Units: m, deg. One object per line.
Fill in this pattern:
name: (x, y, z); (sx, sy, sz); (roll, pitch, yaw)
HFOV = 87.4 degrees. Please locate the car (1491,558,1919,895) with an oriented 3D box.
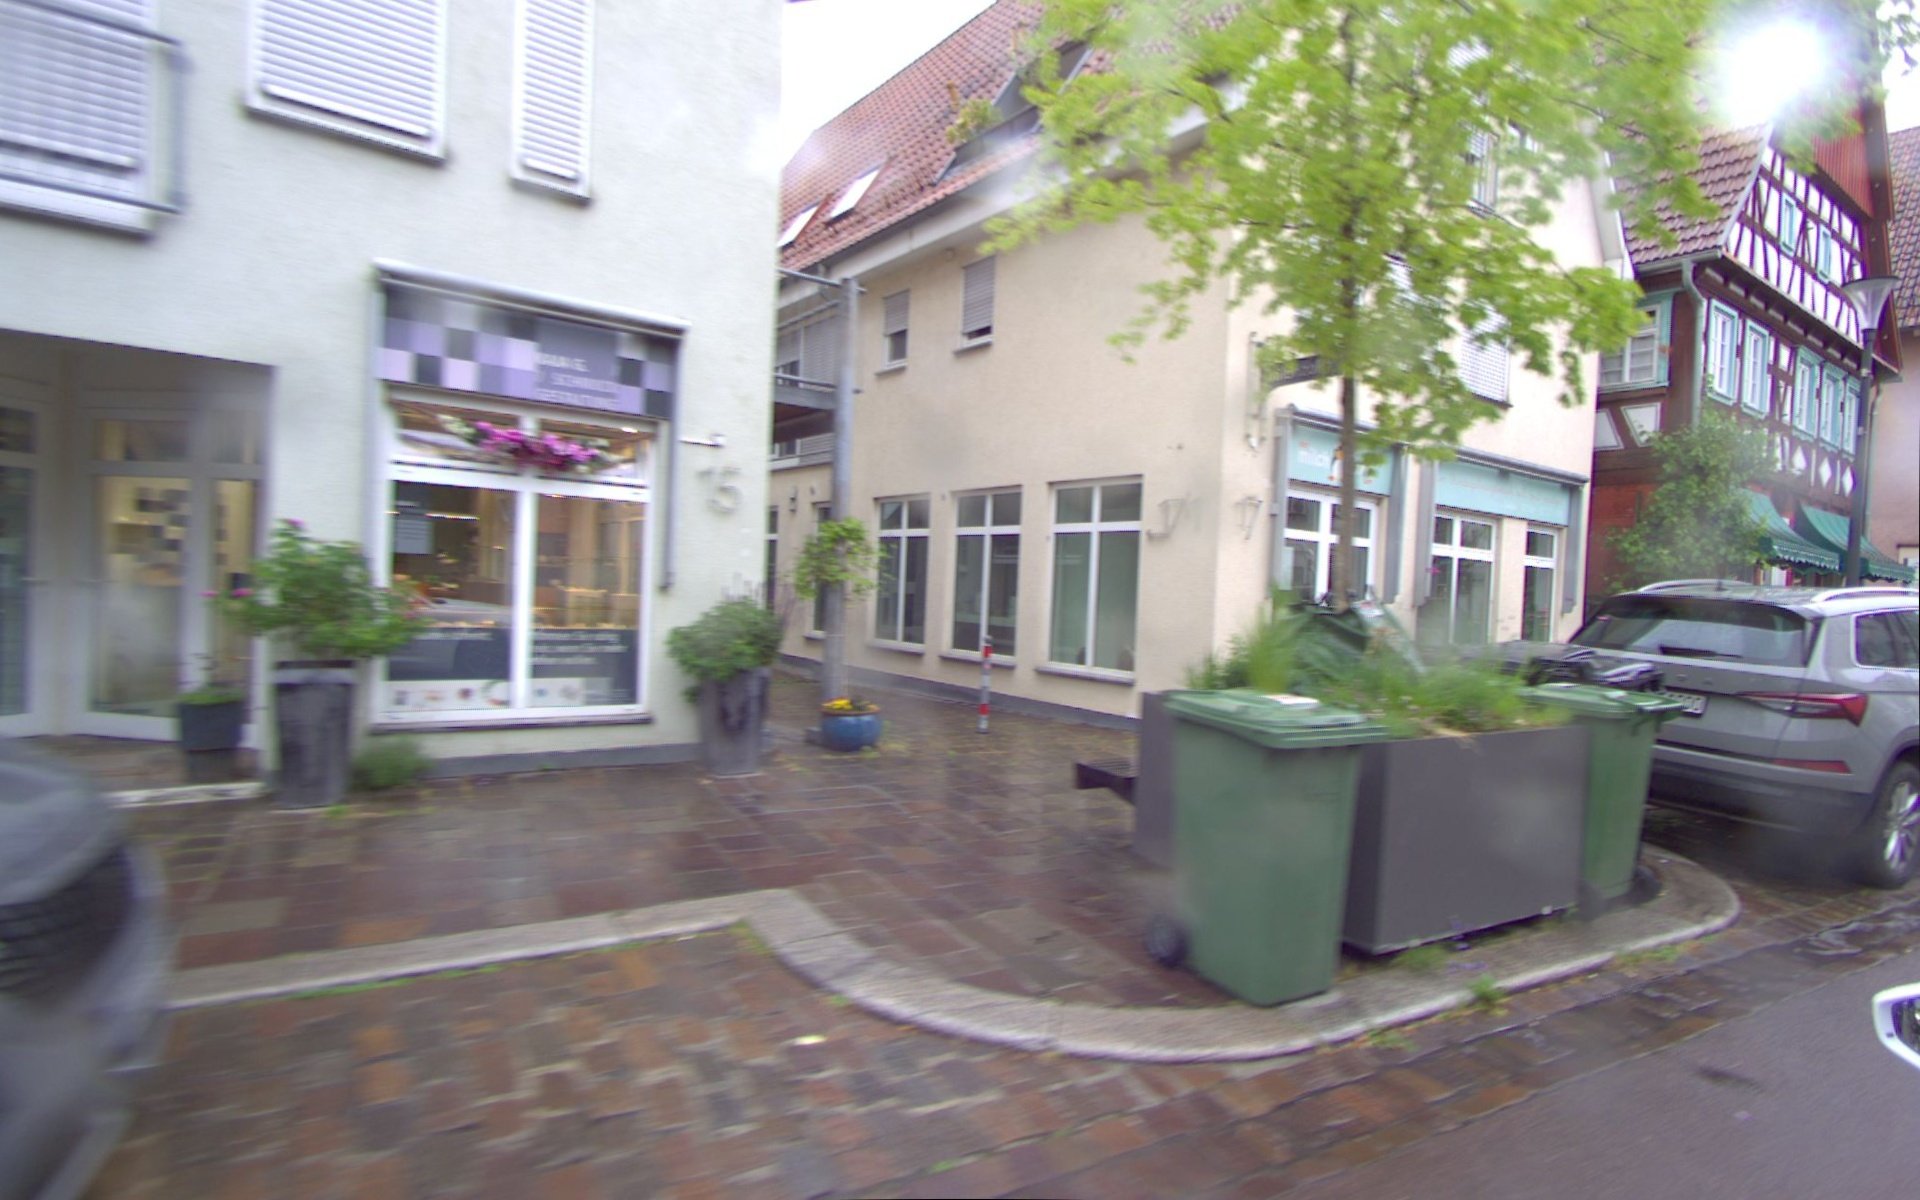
car: (5.916, 0.704, 6.923); (4.424, 1.697, 1.764); (3, 1, -29)

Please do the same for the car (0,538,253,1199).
car: (-3.431, 0.596, 1.259); (3.928, 1.566, 1.586); (3, 0, -29)

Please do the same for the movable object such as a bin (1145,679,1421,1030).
movable object such as a bin: (1.185, 0.871, 3.733); (0.716, 1.093, 0.618); (3, 0, -28)

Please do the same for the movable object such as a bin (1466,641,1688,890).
movable object such as a bin: (3.408, 0.864, 5.574); (0.739, 1.217, 0.741); (3, 0, -28)

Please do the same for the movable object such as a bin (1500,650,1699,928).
movable object such as a bin: (3.108, 0.877, 4.907); (0.516, 1.217, 0.600); (2, 0, -26)
